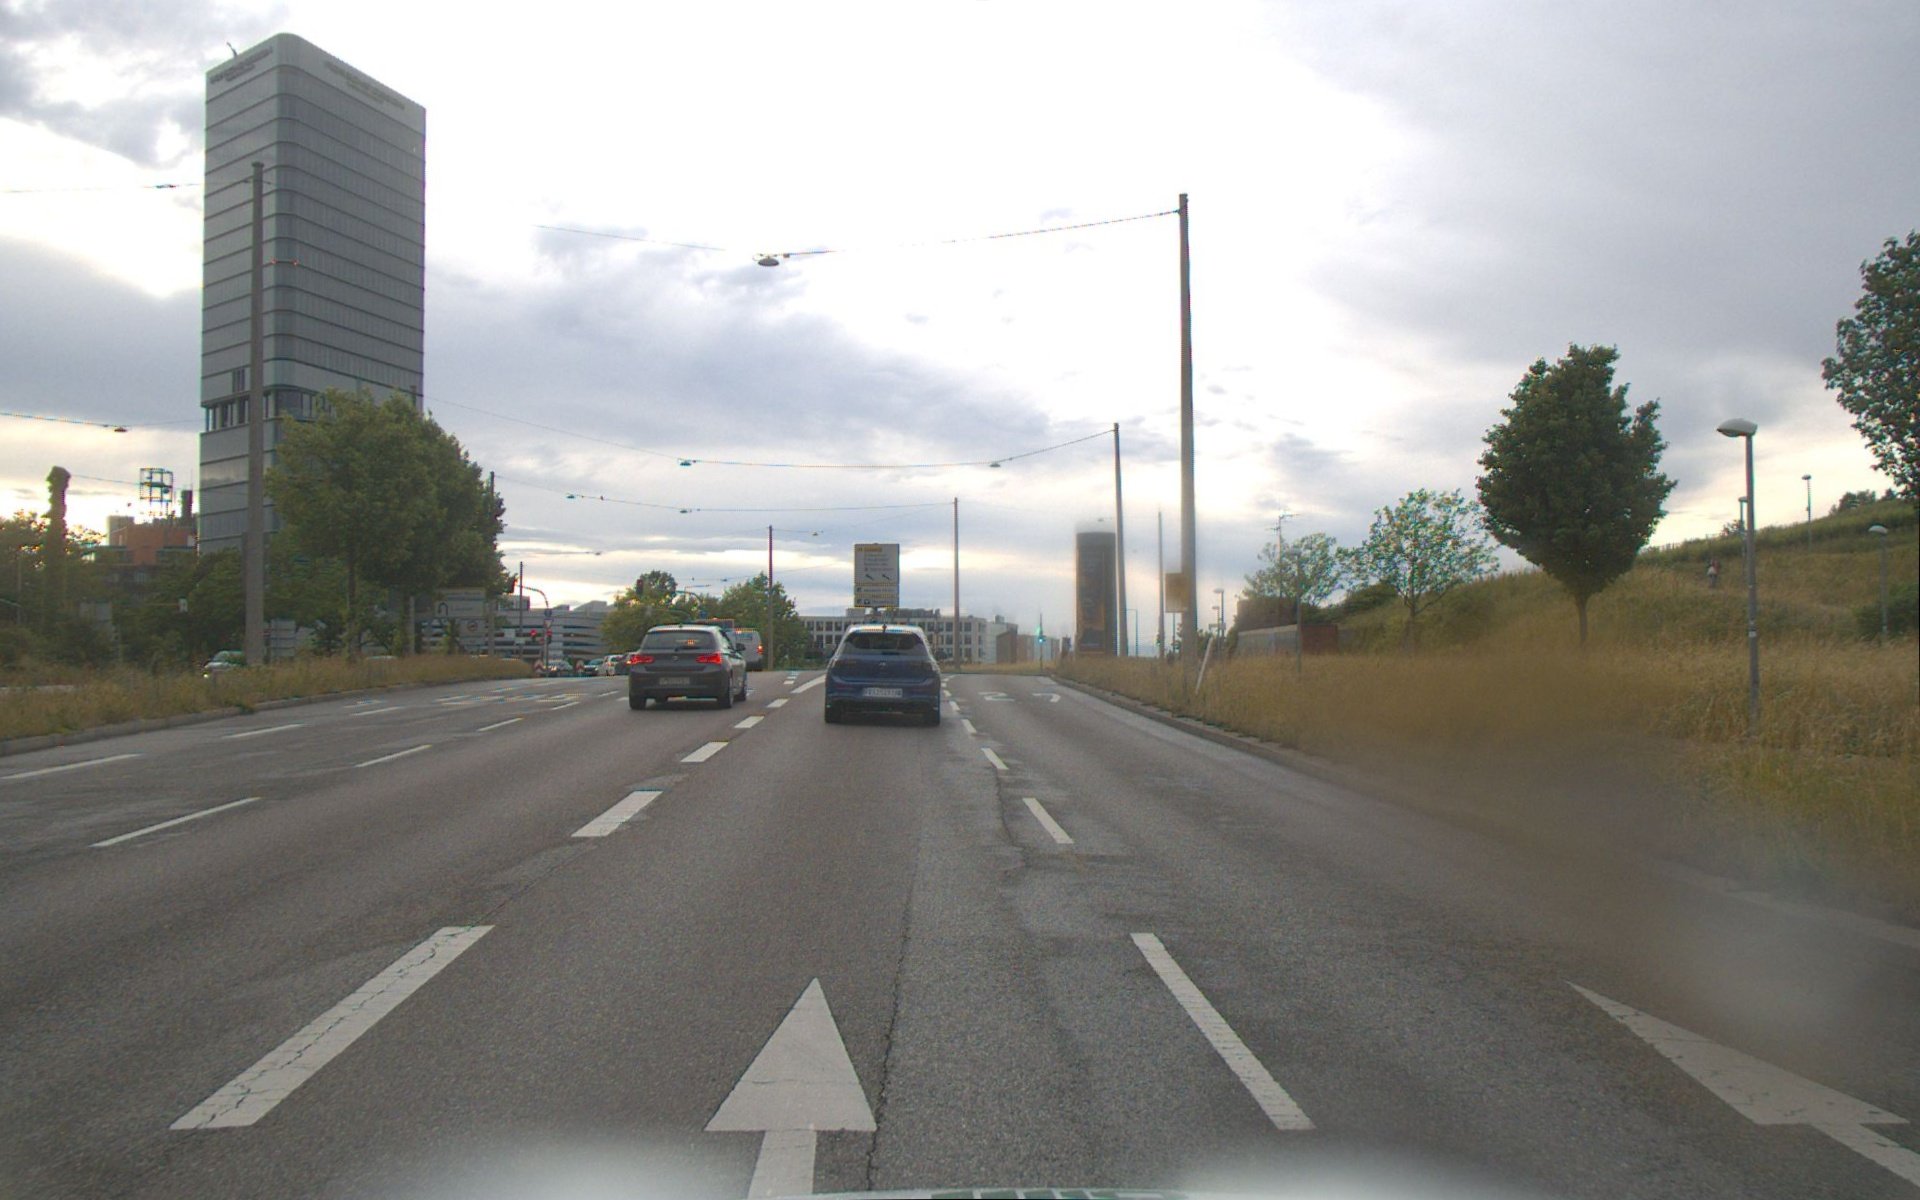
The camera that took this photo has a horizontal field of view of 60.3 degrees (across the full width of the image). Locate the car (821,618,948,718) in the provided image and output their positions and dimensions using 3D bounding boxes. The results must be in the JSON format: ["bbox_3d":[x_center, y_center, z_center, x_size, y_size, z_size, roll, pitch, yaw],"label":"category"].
[{"bbox_3d":[-1.123,1.001,25.753,1.800,1.418,3.999,1,-1,-1],"label":"car"}]

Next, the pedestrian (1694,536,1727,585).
[{"bbox_3d":[32.369,-1.692,71.332,0.772,2.049,1.042,-1,0,-35],"label":"pedestrian"}]

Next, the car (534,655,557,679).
[{"bbox_3d":[-33.358,5.395,132.997,1.735,1.870,3.741,0,-1,-15],"label":"car"}]

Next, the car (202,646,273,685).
[{"bbox_3d":[-29.670,2.672,68.039,1.563,1.384,3.672,2,0,-6],"label":"car"}]

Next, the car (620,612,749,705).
[{"bbox_3d":[-4.849,0.986,29.587,1.832,1.487,3.974,0,0,-3],"label":"car"}]

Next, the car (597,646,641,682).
[{"bbox_3d":[-21.535,4.016,104.390,1.966,2.049,3.973,-2,0,-22],"label":"car"}]

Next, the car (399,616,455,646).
[{"bbox_3d":[-30.652,1.817,95.210,1.854,1.687,4.603,0,-1,-2],"label":"car"}]

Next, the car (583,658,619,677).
[{"bbox_3d":[-29.675,5.593,136.701,1.890,1.510,4.579,0,-2,1],"label":"car"}]

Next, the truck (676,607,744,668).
[{"bbox_3d":[-14.252,2.160,93.851,2.626,3.277,6.510,2,-2,-19],"label":"truck"}]

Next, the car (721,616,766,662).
[{"bbox_3d":[-10.202,1.880,77.673,1.869,2.008,5.079,-1,-2,-10],"label":"car"}]
